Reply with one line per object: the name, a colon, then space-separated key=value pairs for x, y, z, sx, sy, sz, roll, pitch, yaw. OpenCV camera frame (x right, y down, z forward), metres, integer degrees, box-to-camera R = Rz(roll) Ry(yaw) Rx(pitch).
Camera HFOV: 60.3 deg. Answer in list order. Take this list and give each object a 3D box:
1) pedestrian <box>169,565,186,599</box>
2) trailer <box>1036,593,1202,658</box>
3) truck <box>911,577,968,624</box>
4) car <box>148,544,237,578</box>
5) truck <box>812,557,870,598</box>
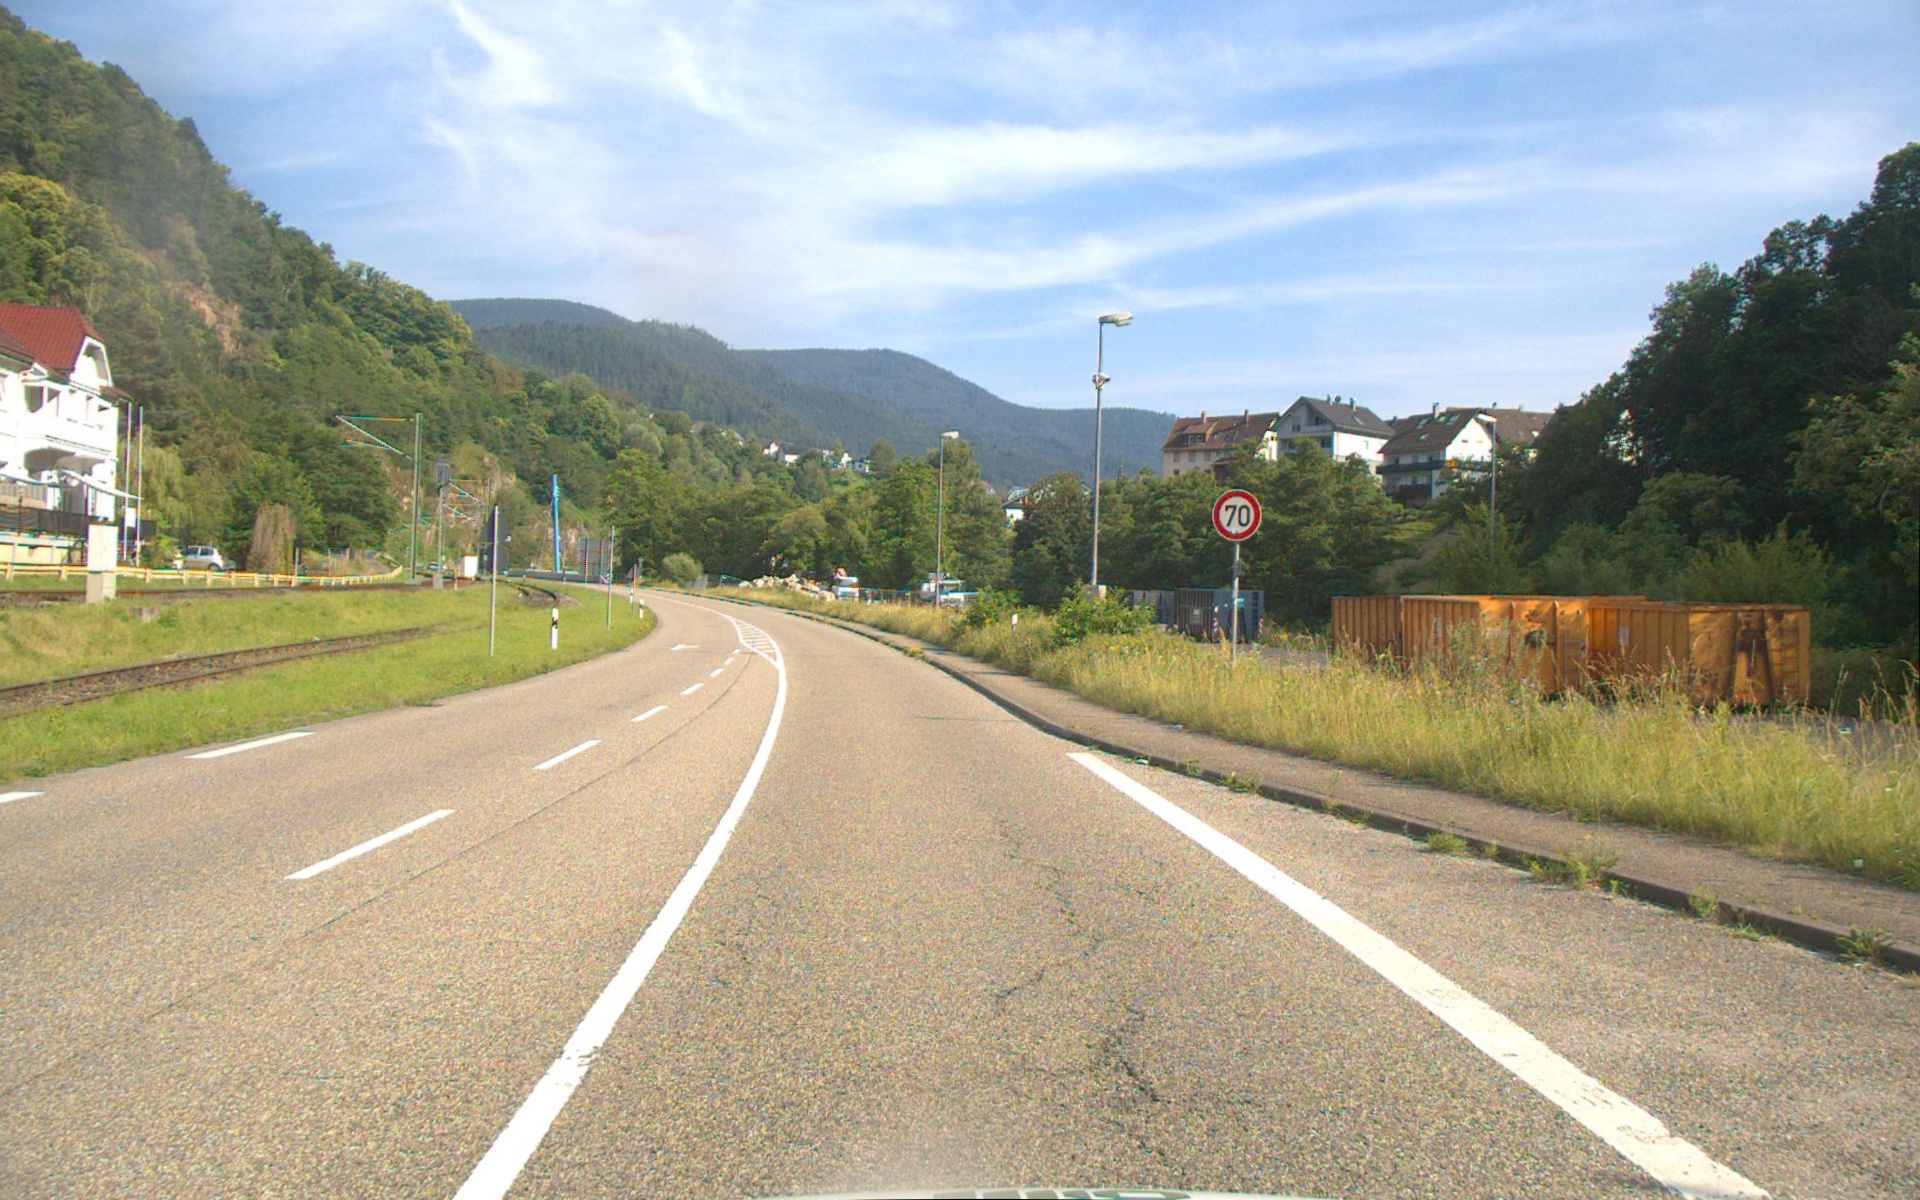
pedestrian: x=-38.729 y=-0.897 z=81.853 sx=0.596 sy=1.644 sz=0.676 roll=2 pitch=0 yaw=-12
trailer: x=4.577 y=0.678 z=50.120 sx=2.740 sy=1.500 sz=9.870 roll=4 pitch=1 yaw=-8
truck: x=-1.896 y=-0.037 z=147.675 sx=3.051 sy=3.847 sz=8.614 roll=2 pitch=1 yaw=-14
car: x=-42.902 y=-2.185 z=92.496 sx=4.069 sy=1.721 sz=1.996 roll=2 pitch=0 yaw=-10
truck: x=-11.874 y=-2.260 z=163.748 sx=3.061 sy=3.847 sz=8.586 roll=2 pitch=1 yaw=-23
